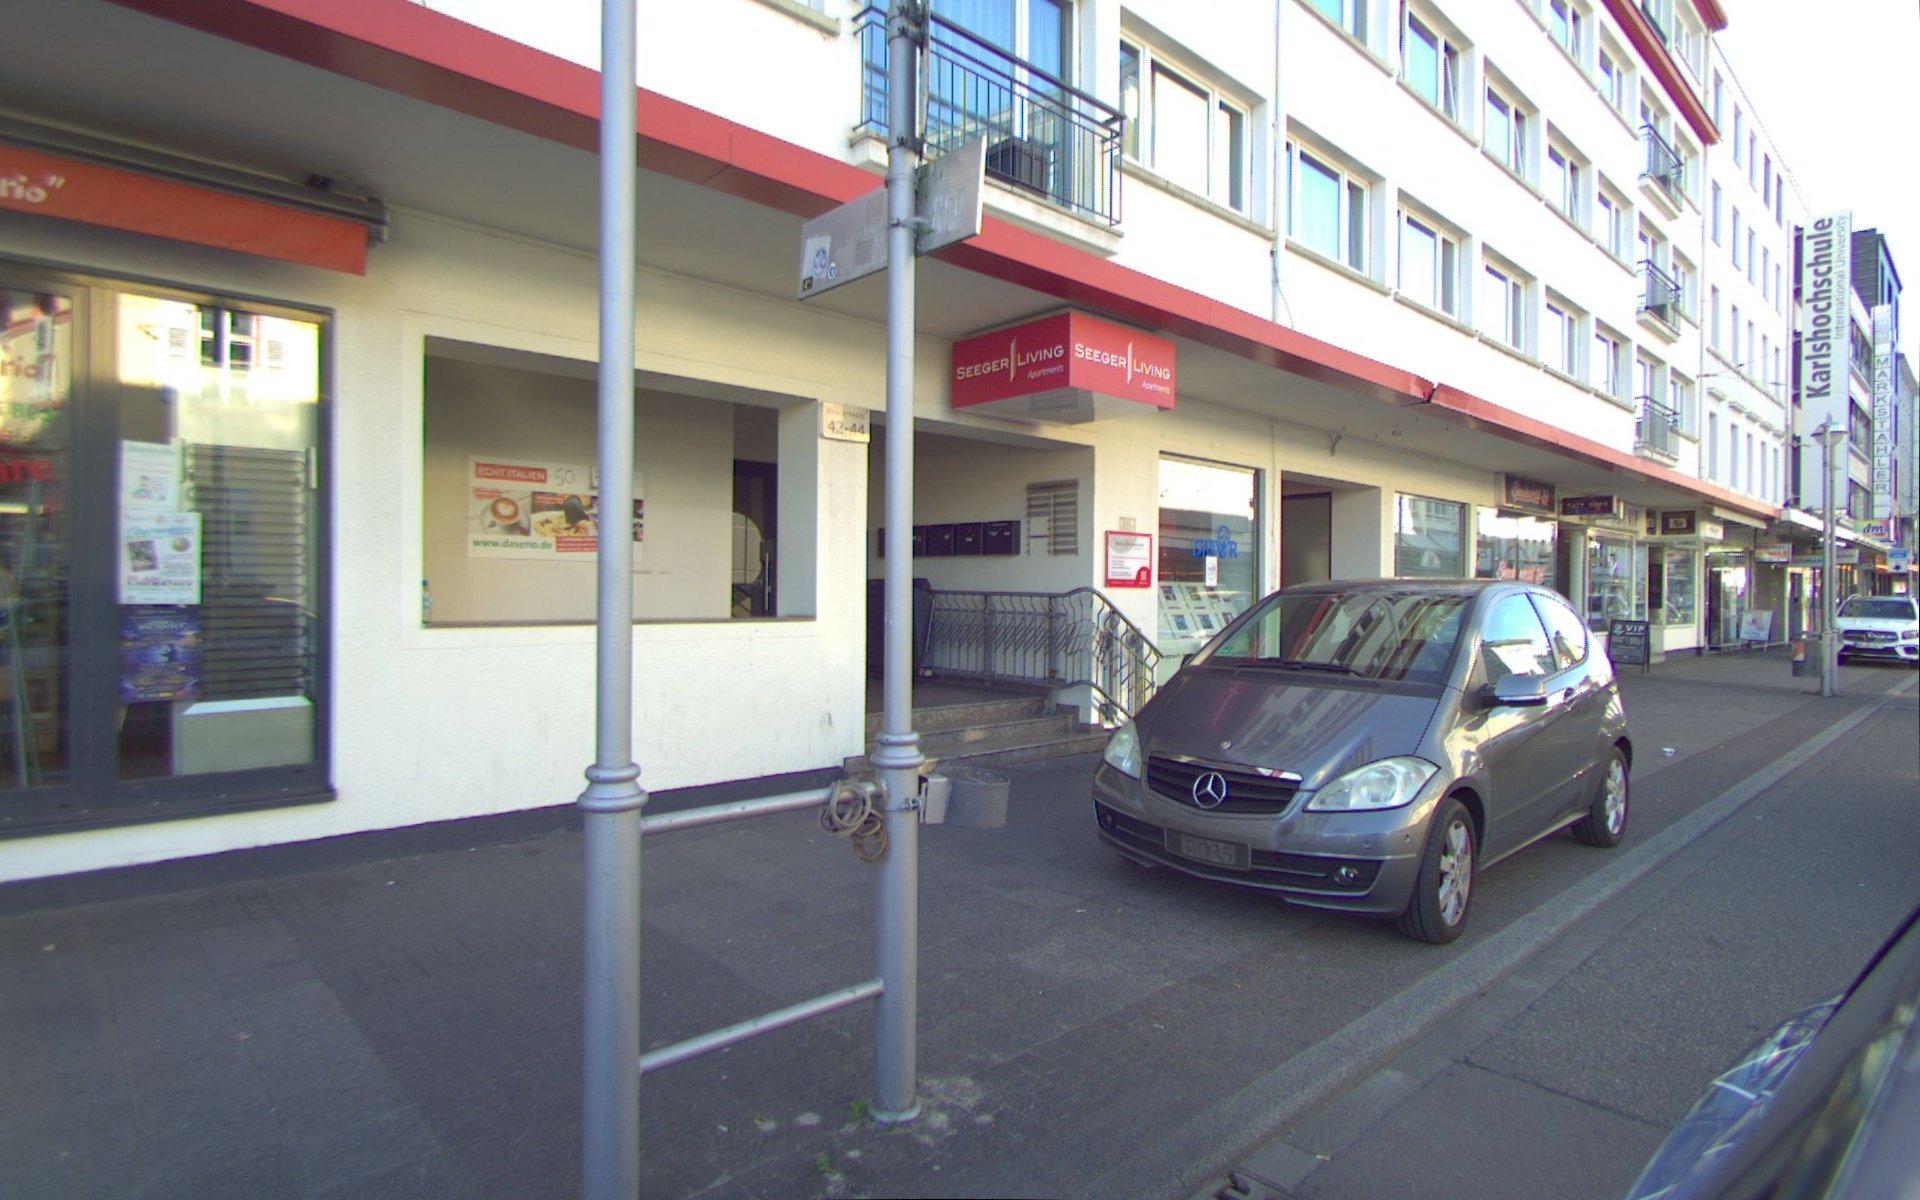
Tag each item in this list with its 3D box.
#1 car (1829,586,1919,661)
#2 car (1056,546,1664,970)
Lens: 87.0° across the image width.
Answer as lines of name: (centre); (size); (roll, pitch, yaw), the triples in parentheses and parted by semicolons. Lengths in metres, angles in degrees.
car: (22.400, 0.522, 24.345); (1.994, 1.650, 3.935); (1, 1, 45)
car: (2.471, 0.585, 5.705); (3.932, 1.565, 1.681); (0, 0, -43)
